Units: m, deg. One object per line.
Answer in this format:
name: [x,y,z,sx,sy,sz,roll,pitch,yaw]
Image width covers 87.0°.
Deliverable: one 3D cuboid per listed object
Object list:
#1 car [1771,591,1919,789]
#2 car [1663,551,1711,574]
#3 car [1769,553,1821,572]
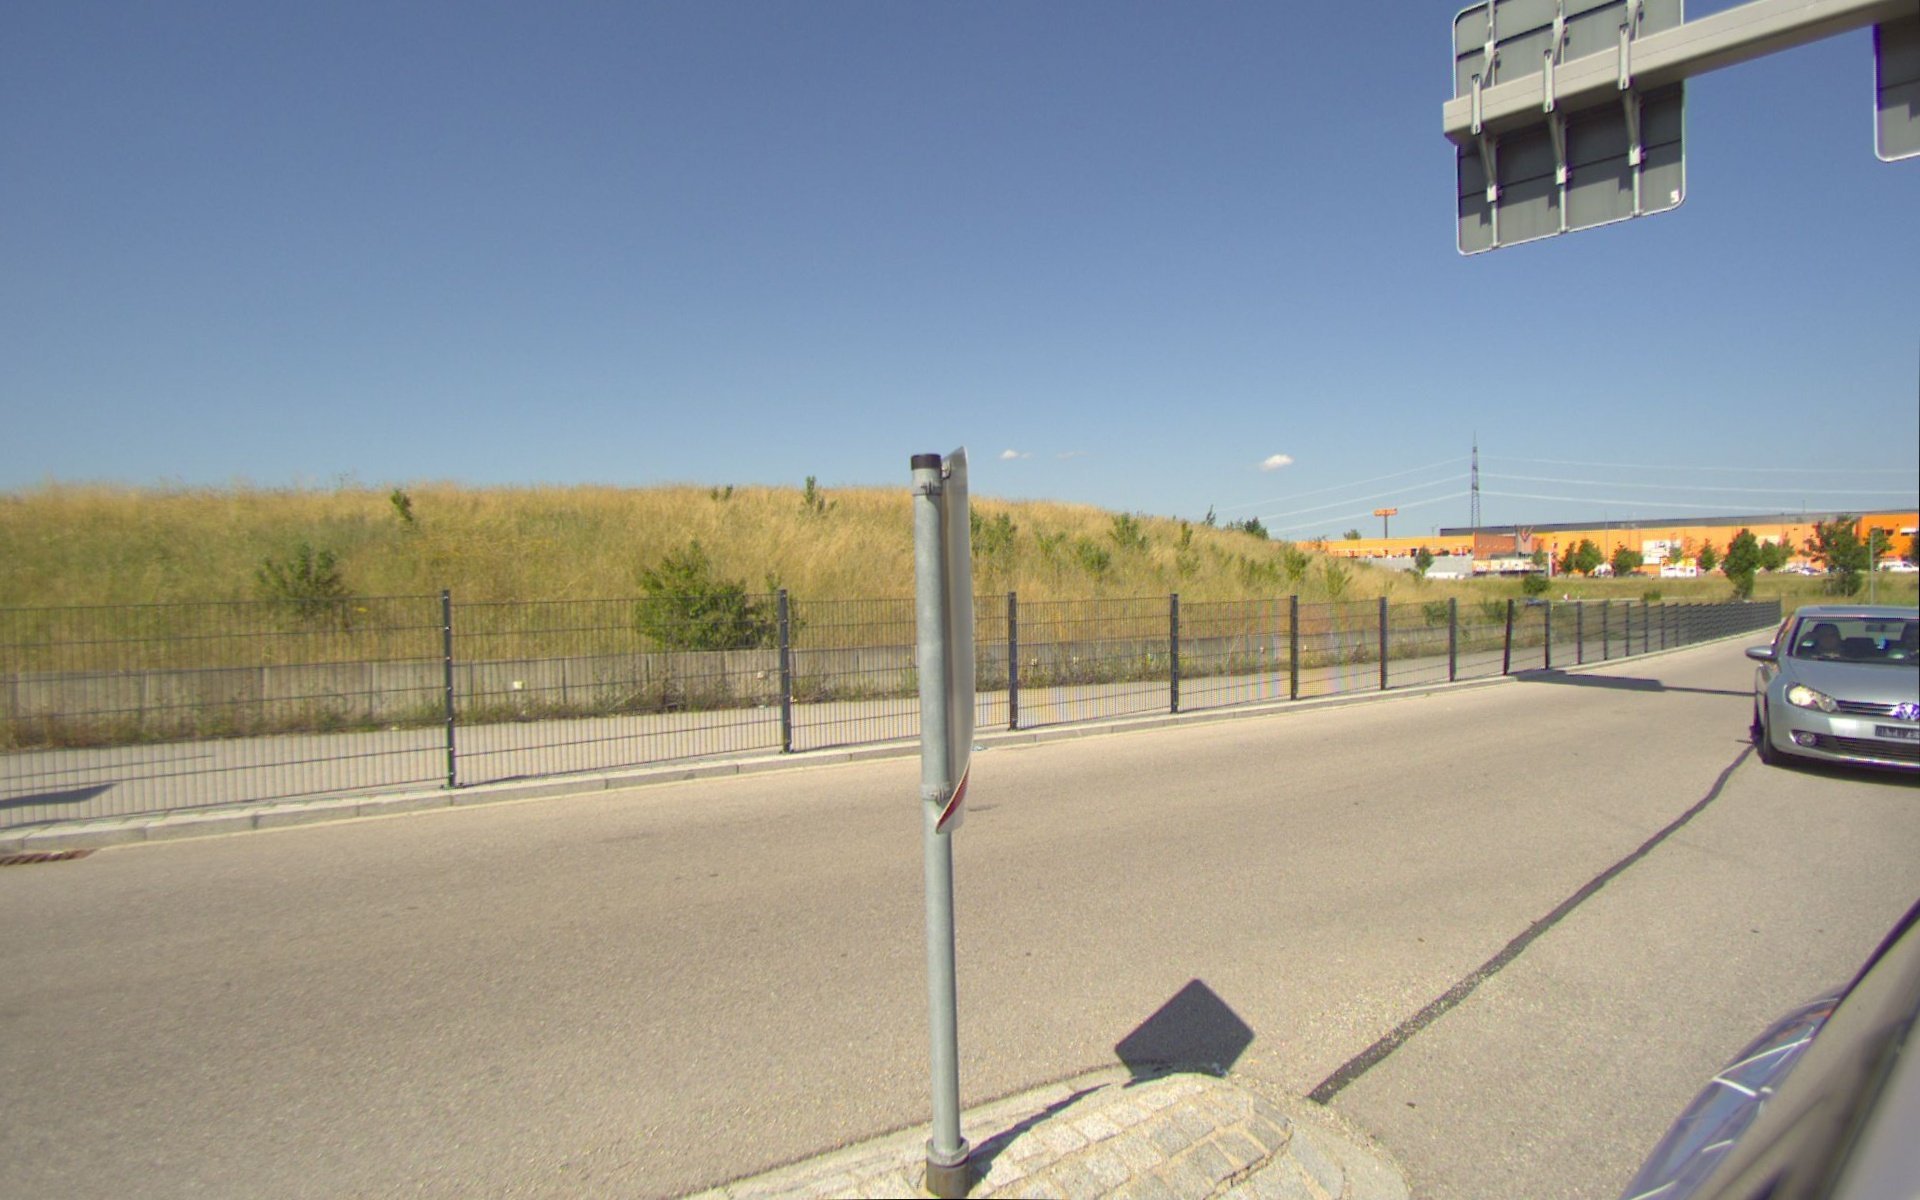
car: [8.710,0.703,9.438,1.739,1.486,3.905,3,3,39]
car: [89.190,-4.595,124.172,4.612,2.581,1.972,-1,0,39]
car: [96.798,-4.299,117.362,4.612,2.039,1.972,-1,0,39]
